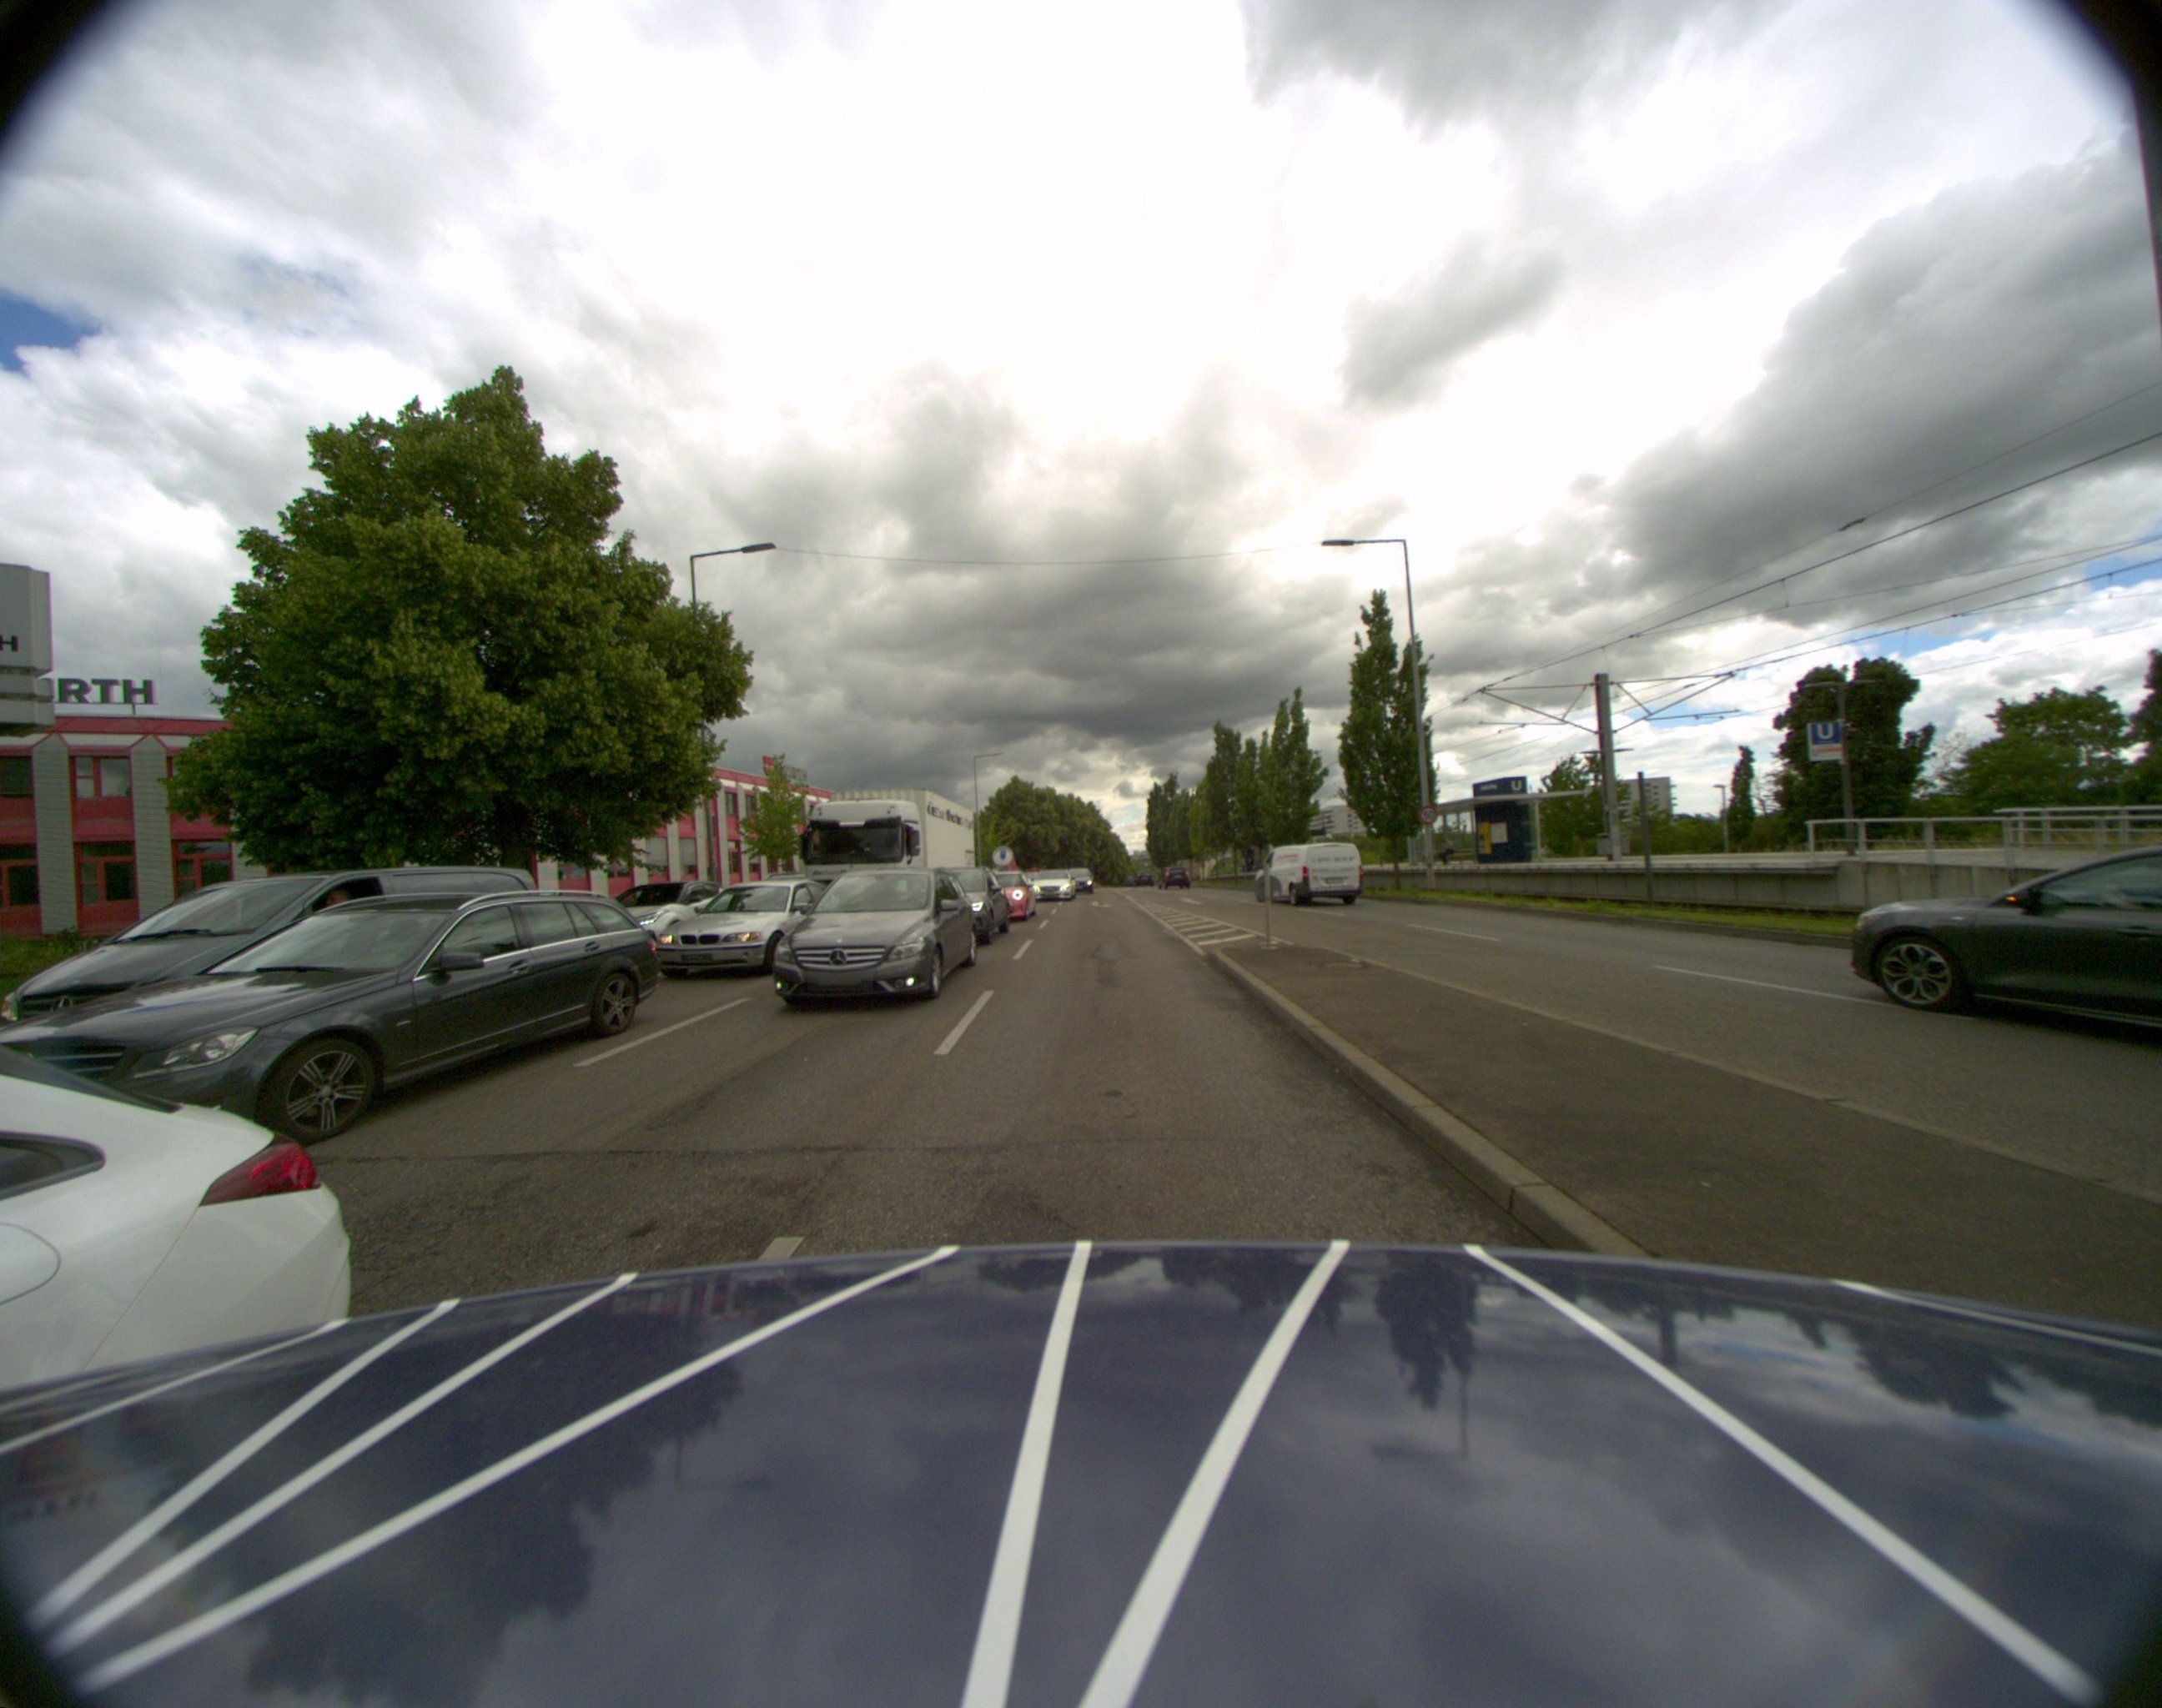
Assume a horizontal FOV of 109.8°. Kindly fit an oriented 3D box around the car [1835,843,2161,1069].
[{"bbox_3d":[7.986,0.666,4.859,1.875,1.416,4.431,-2,1,-1],"label":"car"}]

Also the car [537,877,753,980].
[{"bbox_3d":[-8.602,1.385,15.490,1.844,1.507,4.106,-6,0,1],"label":"car"}]

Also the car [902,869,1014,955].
[{"bbox_3d":[-2.430,1.101,15.872,1.628,1.484,3.838,-2,-1,1],"label":"car"}]

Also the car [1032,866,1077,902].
[{"bbox_3d":[-1.164,1.339,35.220,1.804,1.403,4.317,-2,1,1],"label":"car"}]

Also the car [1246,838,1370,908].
[{"bbox_3d":[7.185,0.523,24.741,1.921,1.953,5.370,-2,1,-5],"label":"car"}]

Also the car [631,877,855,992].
[{"bbox_3d":[-5.385,1.199,12.807,1.750,1.375,4.290,-2,1,1],"label":"car"}]

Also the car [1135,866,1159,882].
[{"bbox_3d":[6.208,1.892,71.666,1.700,1.440,3.934,-2,-1,-2],"label":"car"}]

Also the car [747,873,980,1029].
[{"bbox_3d":[-2.513,1.046,9.839,1.750,1.499,4.048,-2,-1,1],"label":"car"}]

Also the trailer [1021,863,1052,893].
[{"bbox_3d":[-3.000,1.632,52.121,1.775,1.650,3.995,-2,3,1],"label":"trailer"}]

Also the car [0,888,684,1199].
[{"bbox_3d":[-5.355,1.132,6.296,1.750,1.476,4.356,-2,0,1],"label":"car"}]

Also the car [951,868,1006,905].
[{"bbox_3d":[-4.689,1.451,35.271,1.851,1.521,4.377,-2,-1,0],"label":"car"}]

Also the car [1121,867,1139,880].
[{"bbox_3d":[6.064,2.442,94.081,1.813,1.440,3.934,-2,0,-1],"label":"car"}]

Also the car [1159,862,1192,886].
[{"bbox_3d":[6.159,1.299,49.940,1.700,1.440,3.660,-2,0,0],"label":"car"}]

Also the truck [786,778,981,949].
[{"bbox_3d":[-5.286,0.236,22.848,2.809,3.880,10.182,-2,0,2],"label":"truck"}]

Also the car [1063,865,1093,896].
[{"bbox_3d":[-0.177,1.551,45.635,1.669,1.589,3.996,-1,1,0],"label":"car"}]

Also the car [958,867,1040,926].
[{"bbox_3d":[-2.286,1.168,22.068,1.825,1.497,3.495,-2,-1,2],"label":"car"}]

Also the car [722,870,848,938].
[{"bbox_3d":[-8.453,1.376,22.163,1.865,1.648,4.209,-4,-1,1],"label":"car"}]

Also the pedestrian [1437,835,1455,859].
[{"bbox_3d":[17.660,-0.333,36.760,0.601,1.148,0.447,-2,1,1],"label":"pedestrian"}]

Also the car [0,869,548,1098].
[{"bbox_3d":[-8.839,1.175,8.853,1.763,1.765,4.675,-2,1,2],"label":"car"}]
